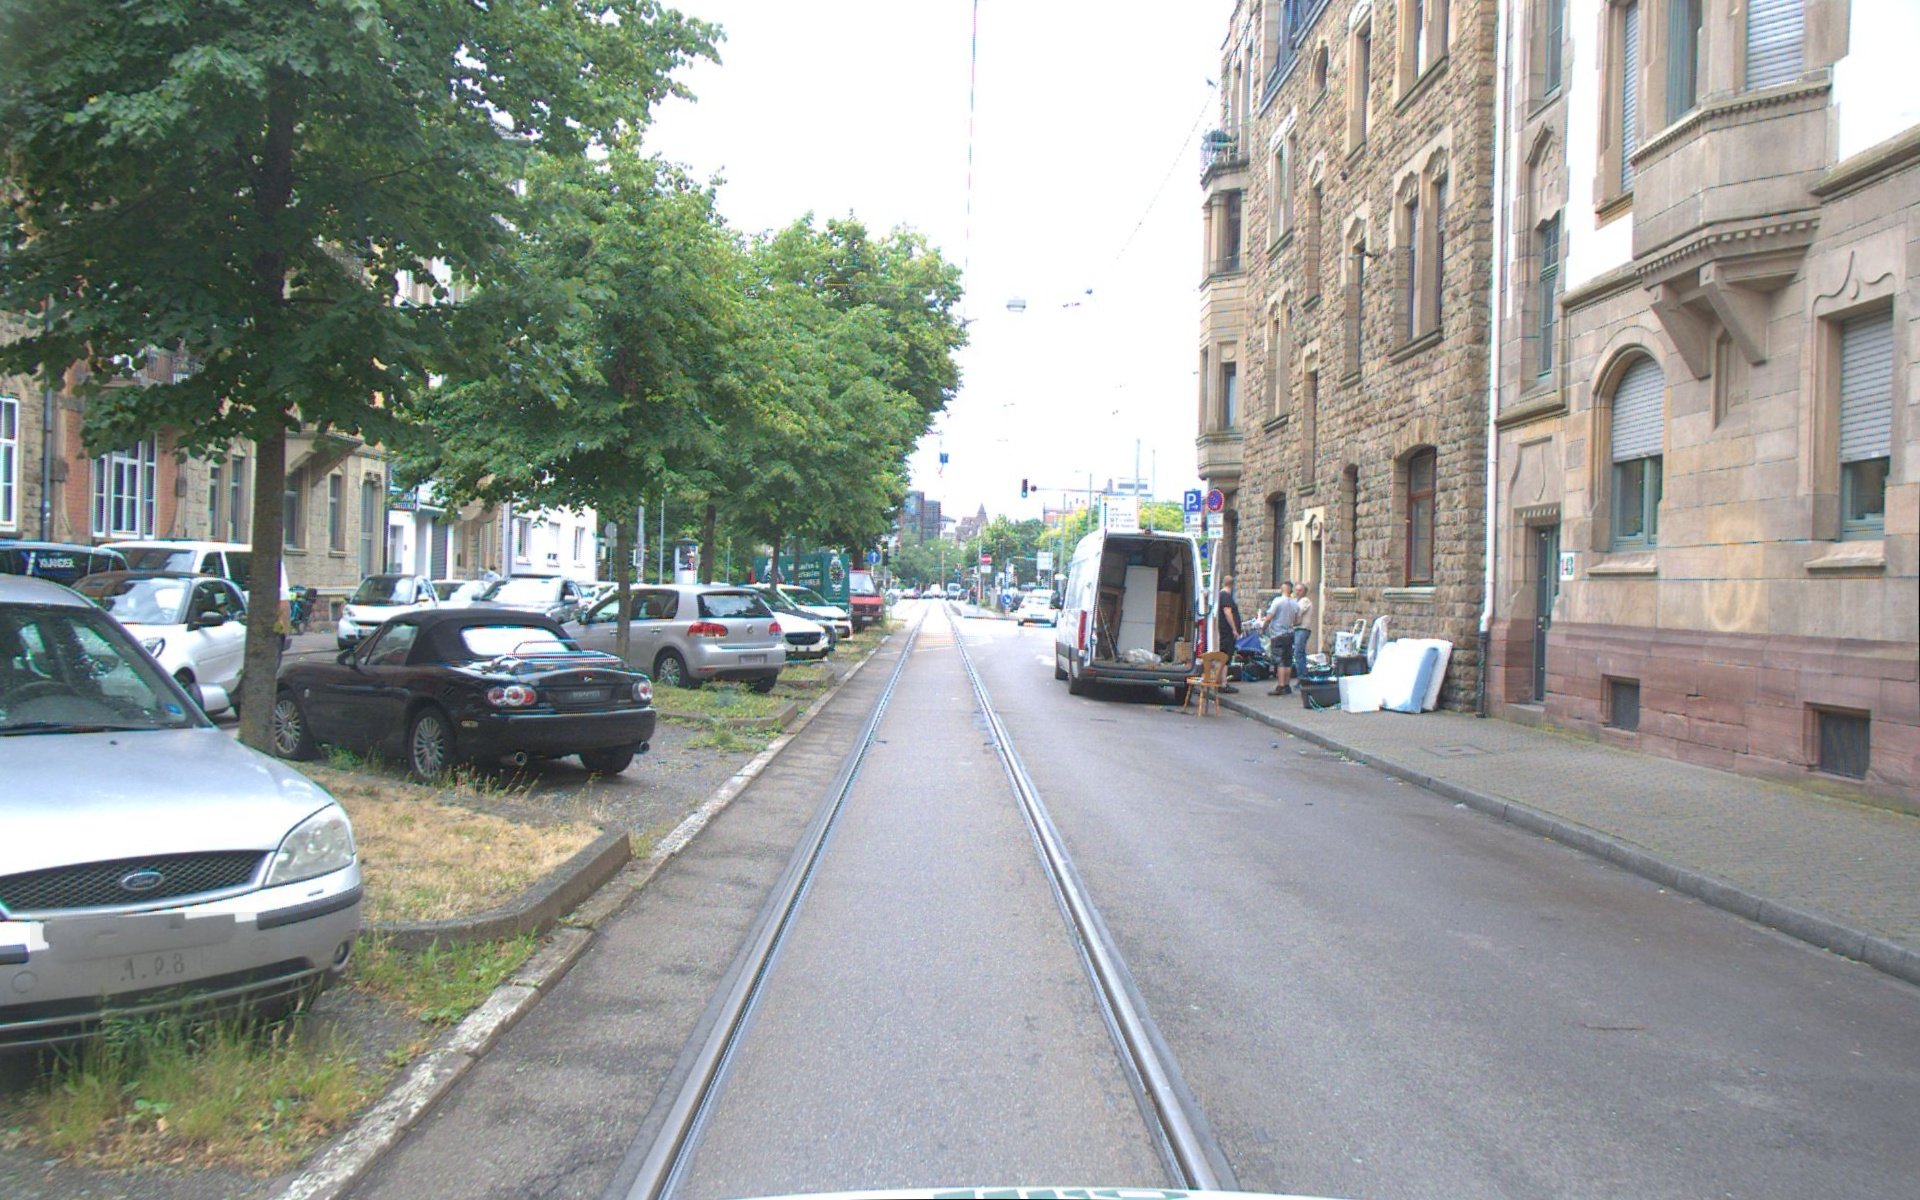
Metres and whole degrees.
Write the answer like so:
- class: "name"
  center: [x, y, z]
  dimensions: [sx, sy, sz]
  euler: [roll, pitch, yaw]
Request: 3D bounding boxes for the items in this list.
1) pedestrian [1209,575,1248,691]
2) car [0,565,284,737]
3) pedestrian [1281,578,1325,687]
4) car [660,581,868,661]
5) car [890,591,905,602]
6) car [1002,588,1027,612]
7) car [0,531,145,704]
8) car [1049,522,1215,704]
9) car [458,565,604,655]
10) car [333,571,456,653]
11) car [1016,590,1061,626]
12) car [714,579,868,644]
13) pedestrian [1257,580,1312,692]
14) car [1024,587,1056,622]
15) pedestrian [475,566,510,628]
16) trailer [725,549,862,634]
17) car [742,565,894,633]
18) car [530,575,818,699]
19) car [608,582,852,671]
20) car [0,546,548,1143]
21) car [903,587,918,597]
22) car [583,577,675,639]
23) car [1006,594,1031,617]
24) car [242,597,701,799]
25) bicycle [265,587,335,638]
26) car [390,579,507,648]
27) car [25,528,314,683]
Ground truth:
- class: "pedestrian"
  center: [4.366, 0.523, 26.926]
  dimensions: [0.488, 1.847, 0.803]
  euler: [-1, 0, 0]
- class: "car"
  center: [-8.140, 0.466, 16.561]
  dimensions: [1.572, 1.541, 2.891]
  euler: [1, 0, -2]
- class: "pedestrian"
  center: [5.601, 0.517, 27.028]
  dimensions: [0.498, 1.747, 0.580]
  euler: [-1, 0, -11]
- class: "car"
  center: [-4.059, 0.396, 33.935]
  dimensions: [4.263, 1.460, 1.888]
  euler: [2, 1, 42]
- class: "car"
  center: [-8.297, -0.412, 219.068]
  dimensions: [1.726, 1.411, 4.000]
  euler: [1, 0, 0]
- class: "car"
  center: [4.941, -0.022, 149.783]
  dimensions: [2.135, 2.069, 4.383]
  euler: [2, 0, 1]
- class: "car"
  center: [-10.974, 0.163, 17.960]
  dimensions: [1.777, 1.812, 5.116]
  euler: [1, 0, -2]
- class: "car"
  center: [2.746, 0.166, 28.083]
  dimensions: [1.972, 2.593, 7.016]
  euler: [3, 0, 0]
- class: "car"
  center: [-8.360, 0.185, 32.618]
  dimensions: [1.768, 1.606, 4.545]
  euler: [1, 0, -2]
- class: "car"
  center: [-11.650, 0.235, 34.232]
  dimensions: [1.602, 1.577, 2.950]
  euler: [2, 0, -2]
- class: "car"
  center: [3.523, 0.346, 73.726]
  dimensions: [1.745, 1.498, 4.013]
  euler: [2, 0, 6]
- class: "car"
  center: [-4.219, 0.269, 41.079]
  dimensions: [3.794, 1.488, 1.680]
  euler: [2, 0, 42]
- class: "pedestrian"
  center: [5.141, 0.556, 26.196]
  dimensions: [0.695, 1.729, 0.488]
  euler: [-1, 0, -29]
- class: "car"
  center: [4.895, 0.255, 101.414]
  dimensions: [1.746, 1.997, 4.382]
  euler: [2, 0, 0]
- class: "pedestrian"
  center: [-13.900, -0.090, 49.181]
  dimensions: [0.781, 1.797, 0.900]
  euler: [1, 0, -2]
- class: "trailer"
  center: [-4.939, -0.262, 48.994]
  dimensions: [3.593, 2.385, 1.926]
  euler: [1, 0, 32]
- class: "car"
  center: [-4.488, -0.059, 51.951]
  dimensions: [4.676, 2.009, 1.951]
  euler: [2, 0, 38]
- class: "car"
  center: [-4.062, 0.466, 23.166]
  dimensions: [4.042, 1.510, 1.787]
  euler: [2, 0, 40]
- class: "car"
  center: [-4.344, 0.445, 30.868]
  dimensions: [4.599, 1.460, 1.890]
  euler: [2, 0, 39]
- class: "car"
  center: [-3.521, 0.518, 5.850]
  dimensions: [4.586, 1.392, 1.747]
  euler: [2, 0, 42]
- class: "car"
  center: [-7.536, -1.238, 251.547]
  dimensions: [1.733, 1.519, 3.889]
  euler: [1, 0, 5]
- class: "car"
  center: [-8.750, 0.194, 44.031]
  dimensions: [1.611, 1.530, 4.620]
  euler: [1, 0, -2]
- class: "car"
  center: [4.541, 0.421, 129.045]
  dimensions: [1.746, 1.708, 4.382]
  euler: [2, 0, -1]
- class: "car"
  center: [-3.878, 0.651, 12.783]
  dimensions: [3.894, 1.223, 1.657]
  euler: [2, 0, 43]
- class: "bicycle"
  center: [-14.597, 0.261, 36.644]
  dimensions: [0.696, 1.091, 2.259]
  euler: [2, 0, -3]
- class: "car"
  center: [-11.829, 0.286, 38.454]
  dimensions: [1.602, 1.468, 3.922]
  euler: [2, 0, -2]
- class: "car"
  center: [-11.361, 0.074, 24.237]
  dimensions: [1.843, 1.986, 5.092]
  euler: [1, 0, -2]
